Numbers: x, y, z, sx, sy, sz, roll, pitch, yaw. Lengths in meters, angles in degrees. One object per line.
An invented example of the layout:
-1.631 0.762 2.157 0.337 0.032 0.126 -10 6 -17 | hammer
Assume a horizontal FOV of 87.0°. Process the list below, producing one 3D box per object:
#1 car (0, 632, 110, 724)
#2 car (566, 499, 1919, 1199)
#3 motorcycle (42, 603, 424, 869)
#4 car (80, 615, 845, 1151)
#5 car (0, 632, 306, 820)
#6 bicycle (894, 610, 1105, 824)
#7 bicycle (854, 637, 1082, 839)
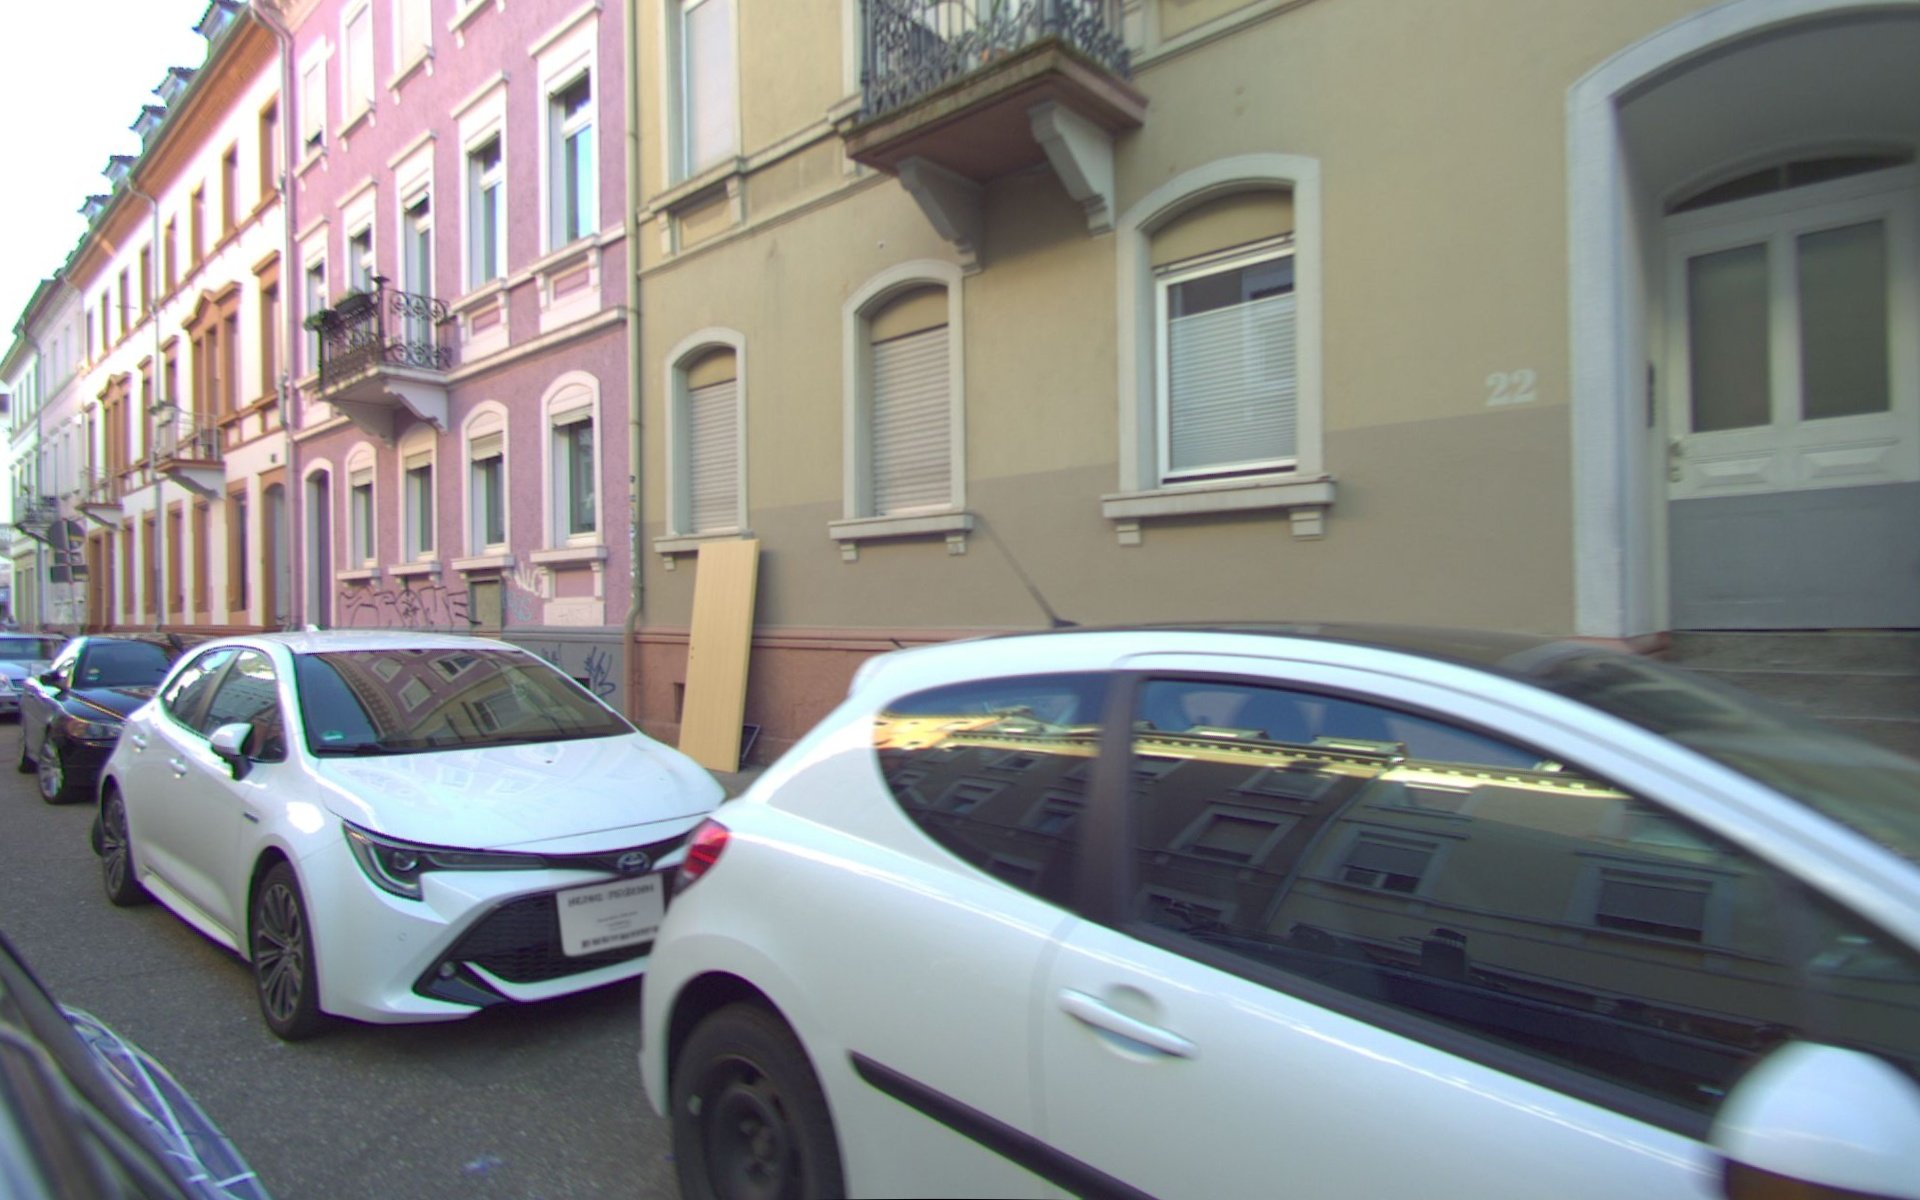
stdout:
-15.570 1.207 16.638 4.377 1.353 1.748 -2 -3 41 | car
1.094 0.654 1.904 3.998 1.463 1.771 -2 -1 41 | car
-4.817 0.802 6.905 0.818 1.490 1.954 -2 0 21 | motorcycle
-2.637 0.840 4.851 4.197 1.473 1.769 -2 -2 40 | car
-7.872 1.009 9.689 4.303 1.401 1.707 -2 -3 43 | car
0.219 0.715 6.662 1.494 1.269 0.315 -2 0 41 | bicycle
0.013 0.797 6.333 1.494 1.110 0.413 -2 0 41 | bicycle
